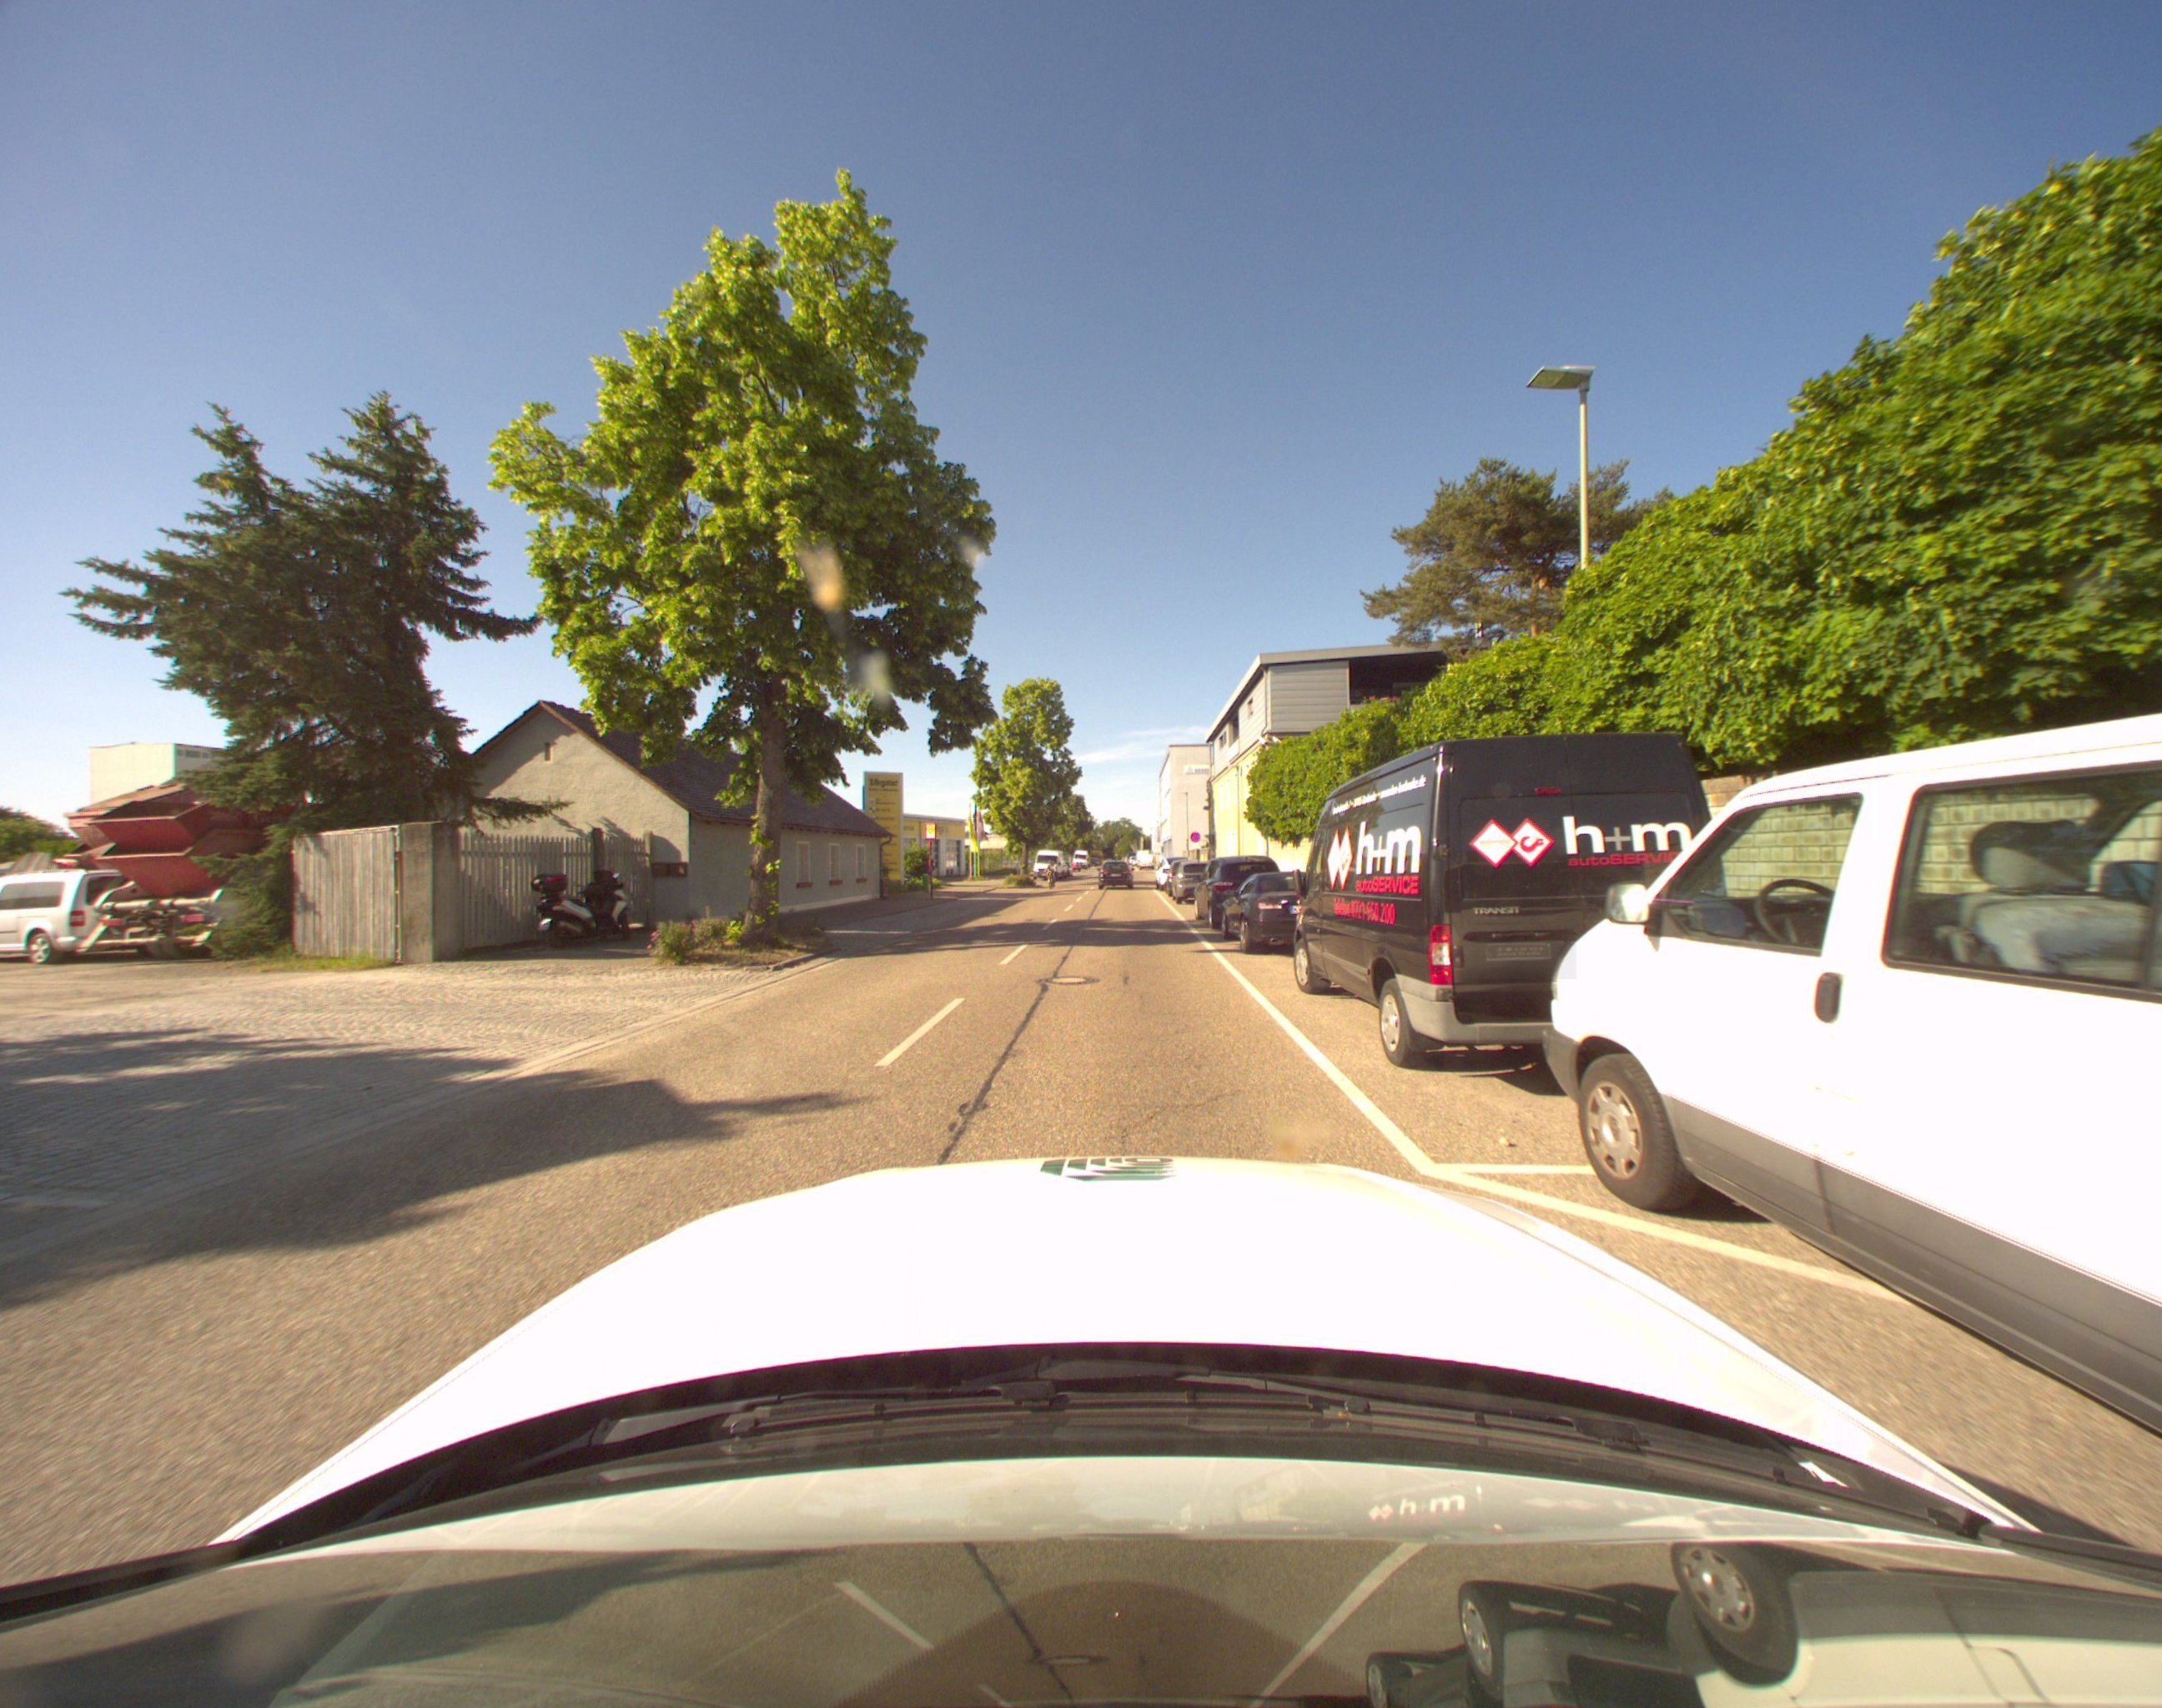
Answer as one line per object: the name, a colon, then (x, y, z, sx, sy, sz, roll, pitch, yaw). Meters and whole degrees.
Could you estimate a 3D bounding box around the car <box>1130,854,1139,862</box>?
car: (11.901, 0.962, 181.706, 1.879, 1.798, 5.105, 1, -1, 2)

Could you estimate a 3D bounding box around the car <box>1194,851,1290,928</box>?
car: (3.695, 0.753, 19.278, 1.674, 1.613, 4.209, 0, 0, 3)

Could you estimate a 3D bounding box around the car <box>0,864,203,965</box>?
car: (-21.365, 1.221, 17.104, 4.432, 1.934, 1.922, -1, 0, 11)

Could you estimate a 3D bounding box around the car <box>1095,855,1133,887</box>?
car: (1.763, 0.866, 42.209, 1.839, 1.530, 4.004, -2, 0, 3)

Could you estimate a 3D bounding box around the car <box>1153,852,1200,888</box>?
car: (4.752, 0.766, 41.176, 1.925, 1.644, 4.771, -2, 0, 1)

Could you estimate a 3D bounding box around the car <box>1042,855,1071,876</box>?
car: (-2.158, 1.013, 74.284, 1.984, 1.738, 4.582, 2, 0, 6)

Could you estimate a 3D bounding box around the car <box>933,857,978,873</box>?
car: (-12.977, 1.144, 84.273, 4.129, 1.574, 1.923, -1, 0, 12)

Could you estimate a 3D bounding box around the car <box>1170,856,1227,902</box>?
car: (4.130, 0.836, 29.168, 1.652, 1.505, 4.035, -2, 0, 3)

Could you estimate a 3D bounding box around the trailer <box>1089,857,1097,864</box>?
trailer: (2.219, 1.246, 151.945, 1.471, 1.354, 3.080, 0, 0, 3)

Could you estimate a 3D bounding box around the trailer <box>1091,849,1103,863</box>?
trailer: (4.264, 0.579, 211.035, 2.980, 3.443, 8.163, -1, -1, 1)

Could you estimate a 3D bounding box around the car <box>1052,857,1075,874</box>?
car: (-1.649, 1.097, 79.553, 1.792, 1.510, 5.007, 3, 0, 3)

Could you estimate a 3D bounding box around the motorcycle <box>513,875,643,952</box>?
motorcycle: (-9.155, 1.031, 14.977, 0.697, 1.233, 2.541, 1, 0, 3)

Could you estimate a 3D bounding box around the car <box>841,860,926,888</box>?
car: (-11.336, 1.162, 46.852, 4.311, 1.508, 2.009, -1, 0, 17)

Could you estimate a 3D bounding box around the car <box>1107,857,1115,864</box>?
car: (7.194, 1.512, 194.095, 1.740, 1.447, 4.363, -1, 0, 3)

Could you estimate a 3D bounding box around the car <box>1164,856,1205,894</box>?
car: (4.381, 0.829, 34.596, 1.590, 1.473, 4.197, -2, 0, 7)

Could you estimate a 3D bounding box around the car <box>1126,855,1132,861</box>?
car: (14.565, 1.245, 248.209, 1.866, 2.014, 5.164, 0, -1, 3)

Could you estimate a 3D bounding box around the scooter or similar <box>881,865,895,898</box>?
scooter or similar: (-7.618, 1.062, 32.105, 0.482, 1.271, 1.570, -1, 0, -14)

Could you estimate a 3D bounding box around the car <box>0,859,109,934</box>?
car: (-38.795, 1.520, 29.318, 1.893, 2.599, 4.501, -1, 0, 24)

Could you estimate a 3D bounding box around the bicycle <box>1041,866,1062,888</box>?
bicycle: (-1.701, 1.316, 47.563, 0.835, 1.240, 2.608, 1, -1, 6)

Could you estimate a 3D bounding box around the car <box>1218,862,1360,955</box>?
car: (3.479, 0.849, 14.345, 1.647, 1.318, 4.107, -2, 0, 3)

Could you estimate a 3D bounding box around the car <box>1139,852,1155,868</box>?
car: (8.108, 0.718, 99.983, 1.881, 1.832, 5.096, -1, 0, 4)

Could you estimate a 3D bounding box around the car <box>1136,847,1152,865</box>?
car: (9.720, 0.332, 126.050, 1.986, 2.597, 6.053, -3, 1, 2)

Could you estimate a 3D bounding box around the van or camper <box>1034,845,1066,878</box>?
van or camper: (-2.557, 0.617, 68.742, 2.062, 2.549, 6.408, 3, 0, 3)

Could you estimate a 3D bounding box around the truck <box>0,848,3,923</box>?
truck: (-49.444, 1.421, 34.340, 7.180, 3.158, 2.751, -1, 0, 19)

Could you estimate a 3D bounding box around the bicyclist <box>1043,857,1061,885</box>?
bicyclist: (-1.696, 0.987, 47.572, 0.835, 1.542, 1.138, 1, -1, 6)

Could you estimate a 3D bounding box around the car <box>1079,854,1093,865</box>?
car: (0.785, 0.859, 130.745, 2.023, 1.694, 5.108, 3, 0, 1)

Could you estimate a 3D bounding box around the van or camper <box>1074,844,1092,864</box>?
van or camper: (0.302, 0.043, 117.620, 1.957, 2.685, 5.955, 4, 0, 4)

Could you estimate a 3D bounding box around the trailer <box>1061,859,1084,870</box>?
trailer: (-0.987, 1.203, 98.872, 2.366, 1.080, 6.249, 3, 1, 2)

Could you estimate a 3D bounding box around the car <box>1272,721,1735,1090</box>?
car: (3.232, 0.329, 7.659, 1.884, 2.260, 5.150, -2, 0, 3)

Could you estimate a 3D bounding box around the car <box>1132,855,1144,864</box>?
car: (9.654, 0.901, 137.379, 1.887, 1.405, 5.126, 1, -1, 2)

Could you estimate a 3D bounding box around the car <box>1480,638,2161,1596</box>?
car: (3.134, 0.511, 2.216, 1.884, 1.926, 4.925, -2, 0, 3)
